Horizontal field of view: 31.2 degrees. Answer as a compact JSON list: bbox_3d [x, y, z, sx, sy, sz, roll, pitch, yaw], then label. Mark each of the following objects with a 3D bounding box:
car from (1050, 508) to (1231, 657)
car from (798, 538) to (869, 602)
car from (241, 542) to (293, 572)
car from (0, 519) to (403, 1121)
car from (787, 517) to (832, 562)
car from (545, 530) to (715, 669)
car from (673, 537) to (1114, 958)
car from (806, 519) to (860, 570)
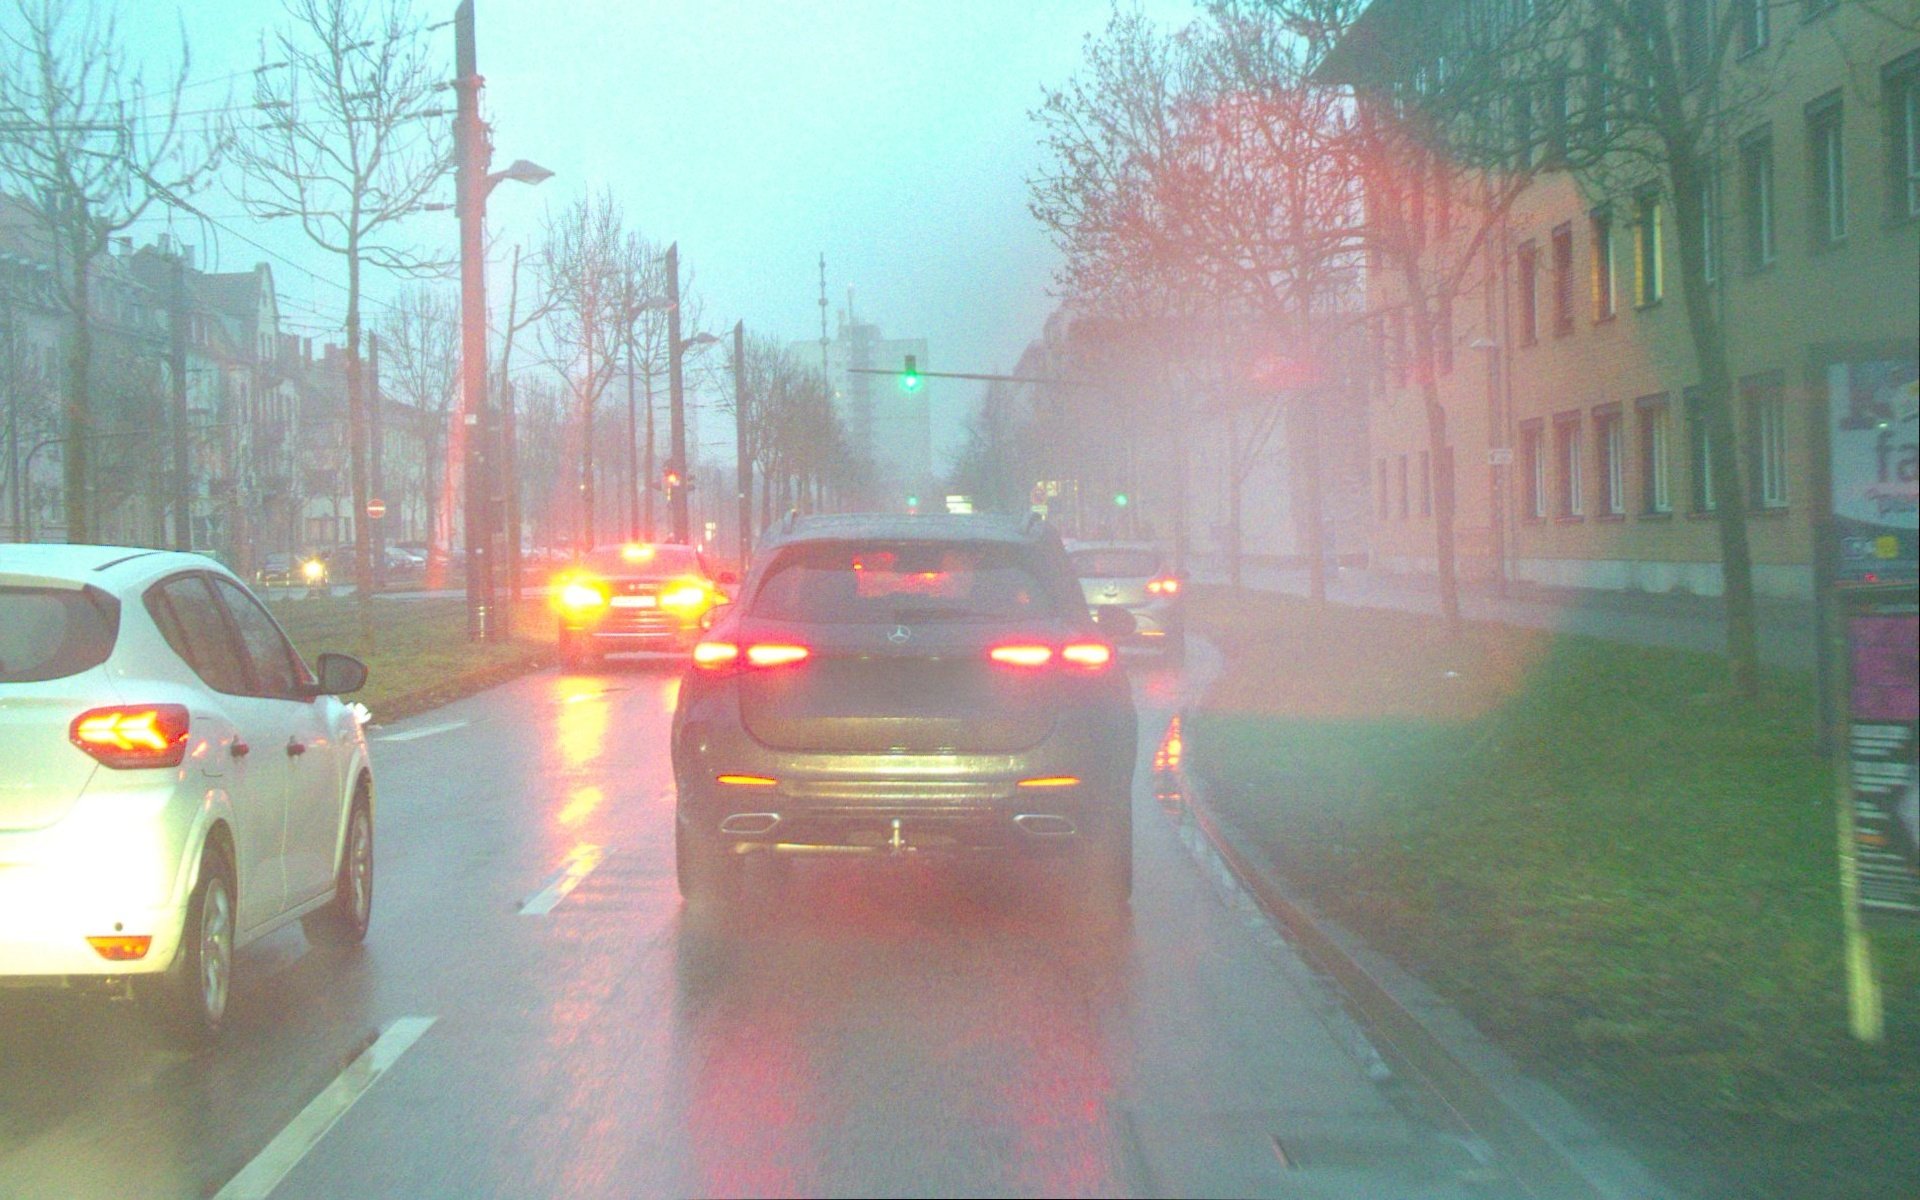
[{"bbox_3d":[2.201,-0.246,42.924,1.993,1.738,4.000,-1,1,0],"label":"car"},{"bbox_3d":[-3.812,-0.936,104.491,1.941,1.831,4.000,-2,1,0],"label":"car"},{"bbox_3d":[-32.932,-2.060,163.438,1.776,1.349,3.557,-2,1,-1],"label":"car"},{"bbox_3d":[-2.962,0.553,11.136,1.672,1.594,4.054,0,1,0],"label":"car"},{"bbox_3d":[-6.981,-2.802,159.714,1.816,2.007,4.000,-2,1,0],"label":"car"},{"bbox_3d":[-3.928,-0.040,41.464,1.672,1.594,4.054,0,1,0],"label":"car"},{"bbox_3d":[-0.262,0.527,15.108,1.672,1.594,4.054,0,1,0],"label":"car"},{"bbox_3d":[-4.985,-2.181,134.870,1.993,1.908,4.001,-2,1,-2],"label":"car"}]
